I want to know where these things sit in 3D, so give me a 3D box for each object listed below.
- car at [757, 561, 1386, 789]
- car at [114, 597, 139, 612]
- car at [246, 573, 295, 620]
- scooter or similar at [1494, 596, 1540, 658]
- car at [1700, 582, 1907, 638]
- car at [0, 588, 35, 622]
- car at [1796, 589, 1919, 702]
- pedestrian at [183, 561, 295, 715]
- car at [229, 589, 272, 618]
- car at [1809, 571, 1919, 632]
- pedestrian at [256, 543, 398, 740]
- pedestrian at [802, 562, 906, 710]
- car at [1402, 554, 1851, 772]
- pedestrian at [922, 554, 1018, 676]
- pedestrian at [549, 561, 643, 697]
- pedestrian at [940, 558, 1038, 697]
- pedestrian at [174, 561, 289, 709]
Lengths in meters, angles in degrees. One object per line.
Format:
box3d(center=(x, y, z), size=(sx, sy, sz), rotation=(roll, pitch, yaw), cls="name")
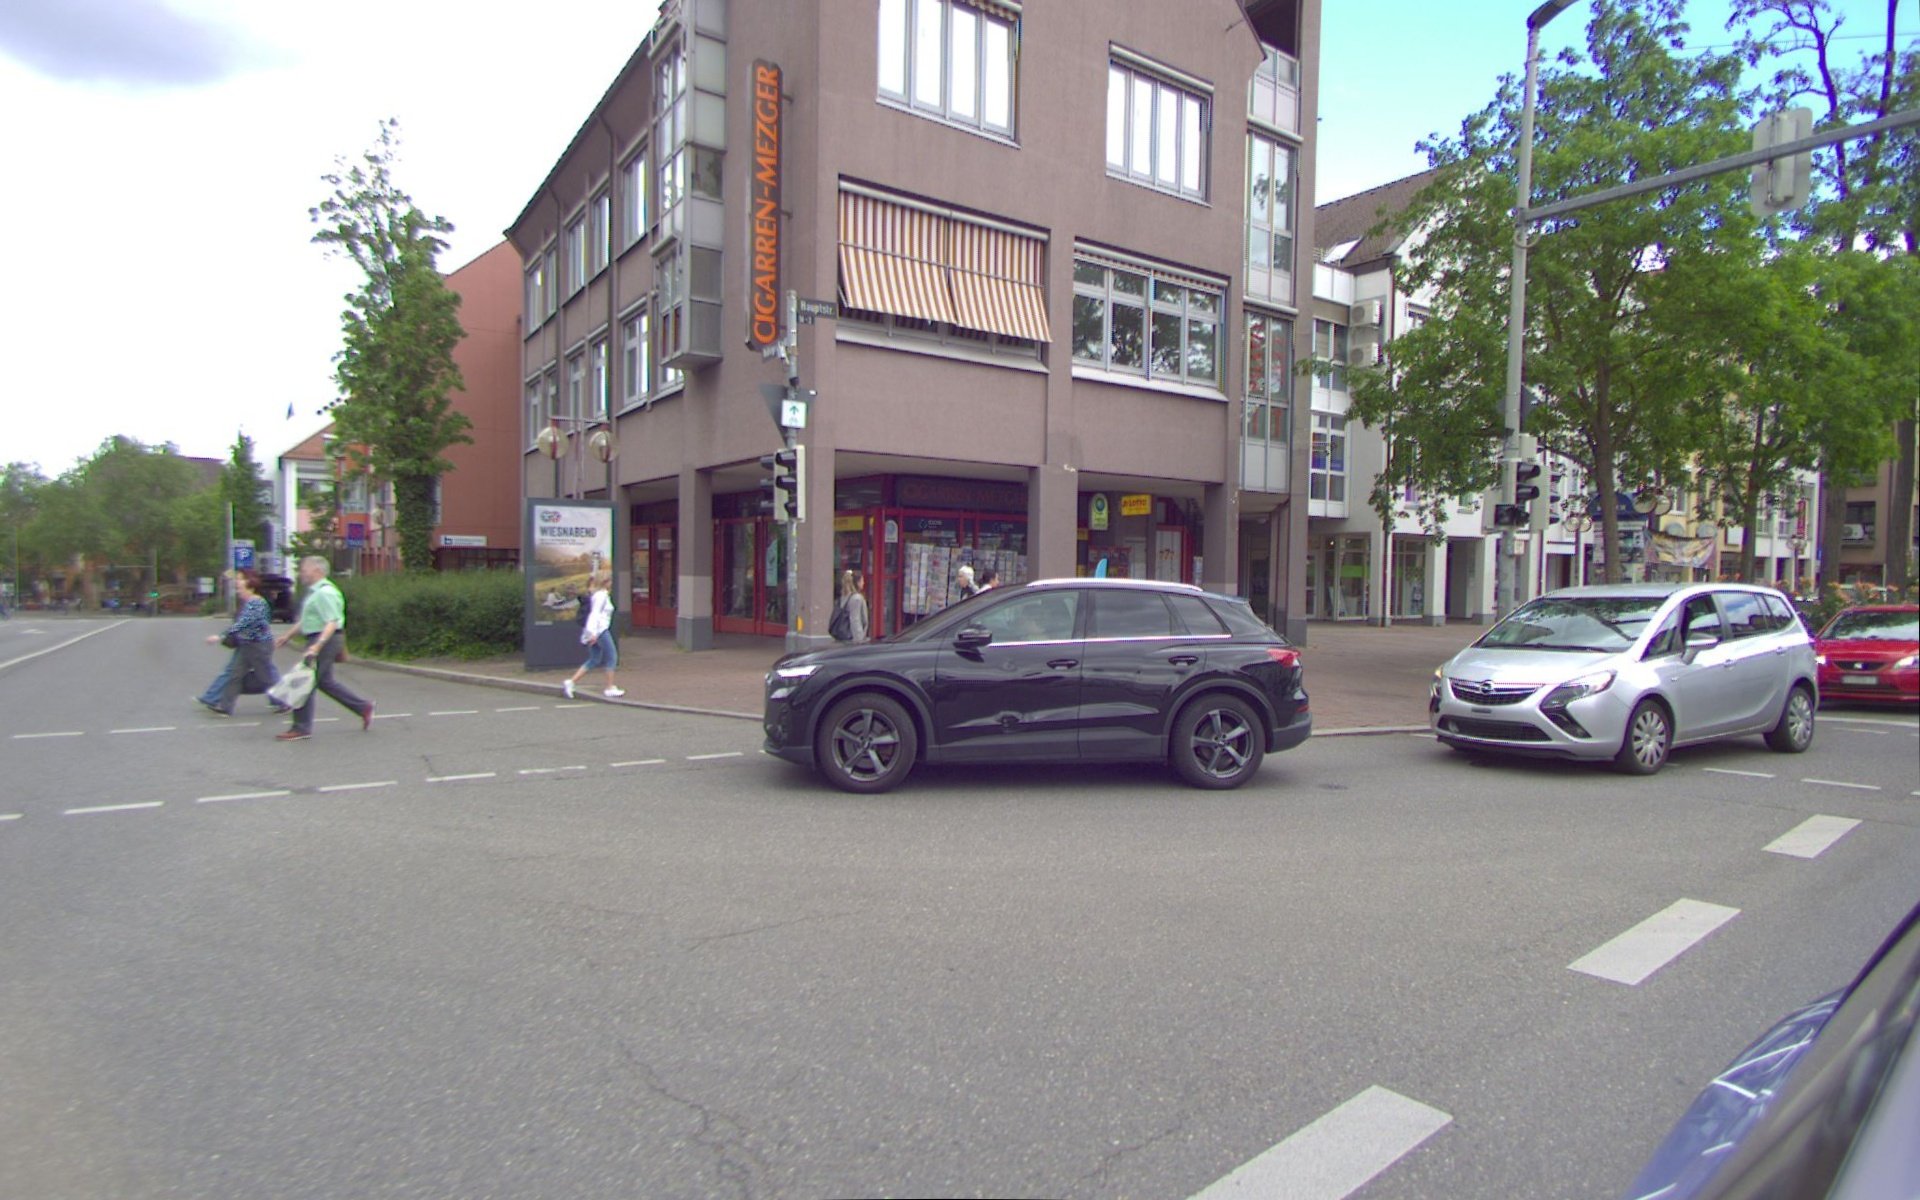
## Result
box3d(center=(0.799, 0.534, 8.439), size=(4.762, 1.629, 1.860), rotation=(0, 0, -7), cls="car")
box3d(center=(-95.539, 0.506, 116.028), size=(1.692, 1.620, 3.742), rotation=(2, -1, -33), cls="car")
box3d(center=(-31.297, -0.140, 46.013), size=(1.692, 2.039, 3.742), rotation=(2, -1, -33), cls="car")
box3d(center=(10.975, 0.502, 19.919), size=(0.469, 1.100, 1.862), rotation=(2, 3, 39), cls="scooter or similar")
box3d(center=(26.216, 0.244, 31.645), size=(1.706, 1.471, 4.656), rotation=(0, 3, -34), cls="car")
box3d(center=(-50.144, 0.232, 53.143), size=(1.767, 1.675, 4.460), rotation=(0, 1, -36), cls="car")
box3d(center=(13.694, 0.582, 14.559), size=(3.572, 1.466, 1.632), rotation=(0, 0, -34), cls="car")
box3d(center=(-7.754, 0.372, 10.916), size=(0.951, 1.578, 0.833), rotation=(0, 1, -35), cls="pedestrian")
box3d(center=(-37.339, 0.184, 53.332), size=(1.692, 1.412, 3.742), rotation=(2, -1, -33), cls="car")
box3d(center=(31.358, -0.003, 34.948), size=(4.665, 1.899, 2.000), rotation=(-1, 4, -36), cls="car")
box3d(center=(-6.034, 0.348, 9.642), size=(1.089, 1.736, 1.059), rotation=(0, 1, -35), cls="pedestrian")
box3d(center=(-1.242, 0.390, 11.859), size=(0.936, 1.646, 0.743), rotation=(0, 2, -37), cls="pedestrian")
box3d(center=(6.485, 0.484, 9.780), size=(4.291, 1.722, 1.747), rotation=(0, 0, -27), cls="car")
box3d(center=(0.141, 0.190, 14.409), size=(1.073, 1.646, 0.811), rotation=(0, 2, -36), cls="pedestrian")
box3d(center=(-4.557, 0.331, 12.647), size=(1.018, 1.615, 0.825), rotation=(0, 1, -27), cls="pedestrian")
box3d(center=(0.359, 0.309, 12.570), size=(0.936, 1.646, 0.743), rotation=(0, 2, -37), cls="pedestrian")
box3d(center=(-8.331, 0.365, 11.624), size=(1.038, 1.604, 0.833), rotation=(0, 1, -34), cls="pedestrian")
